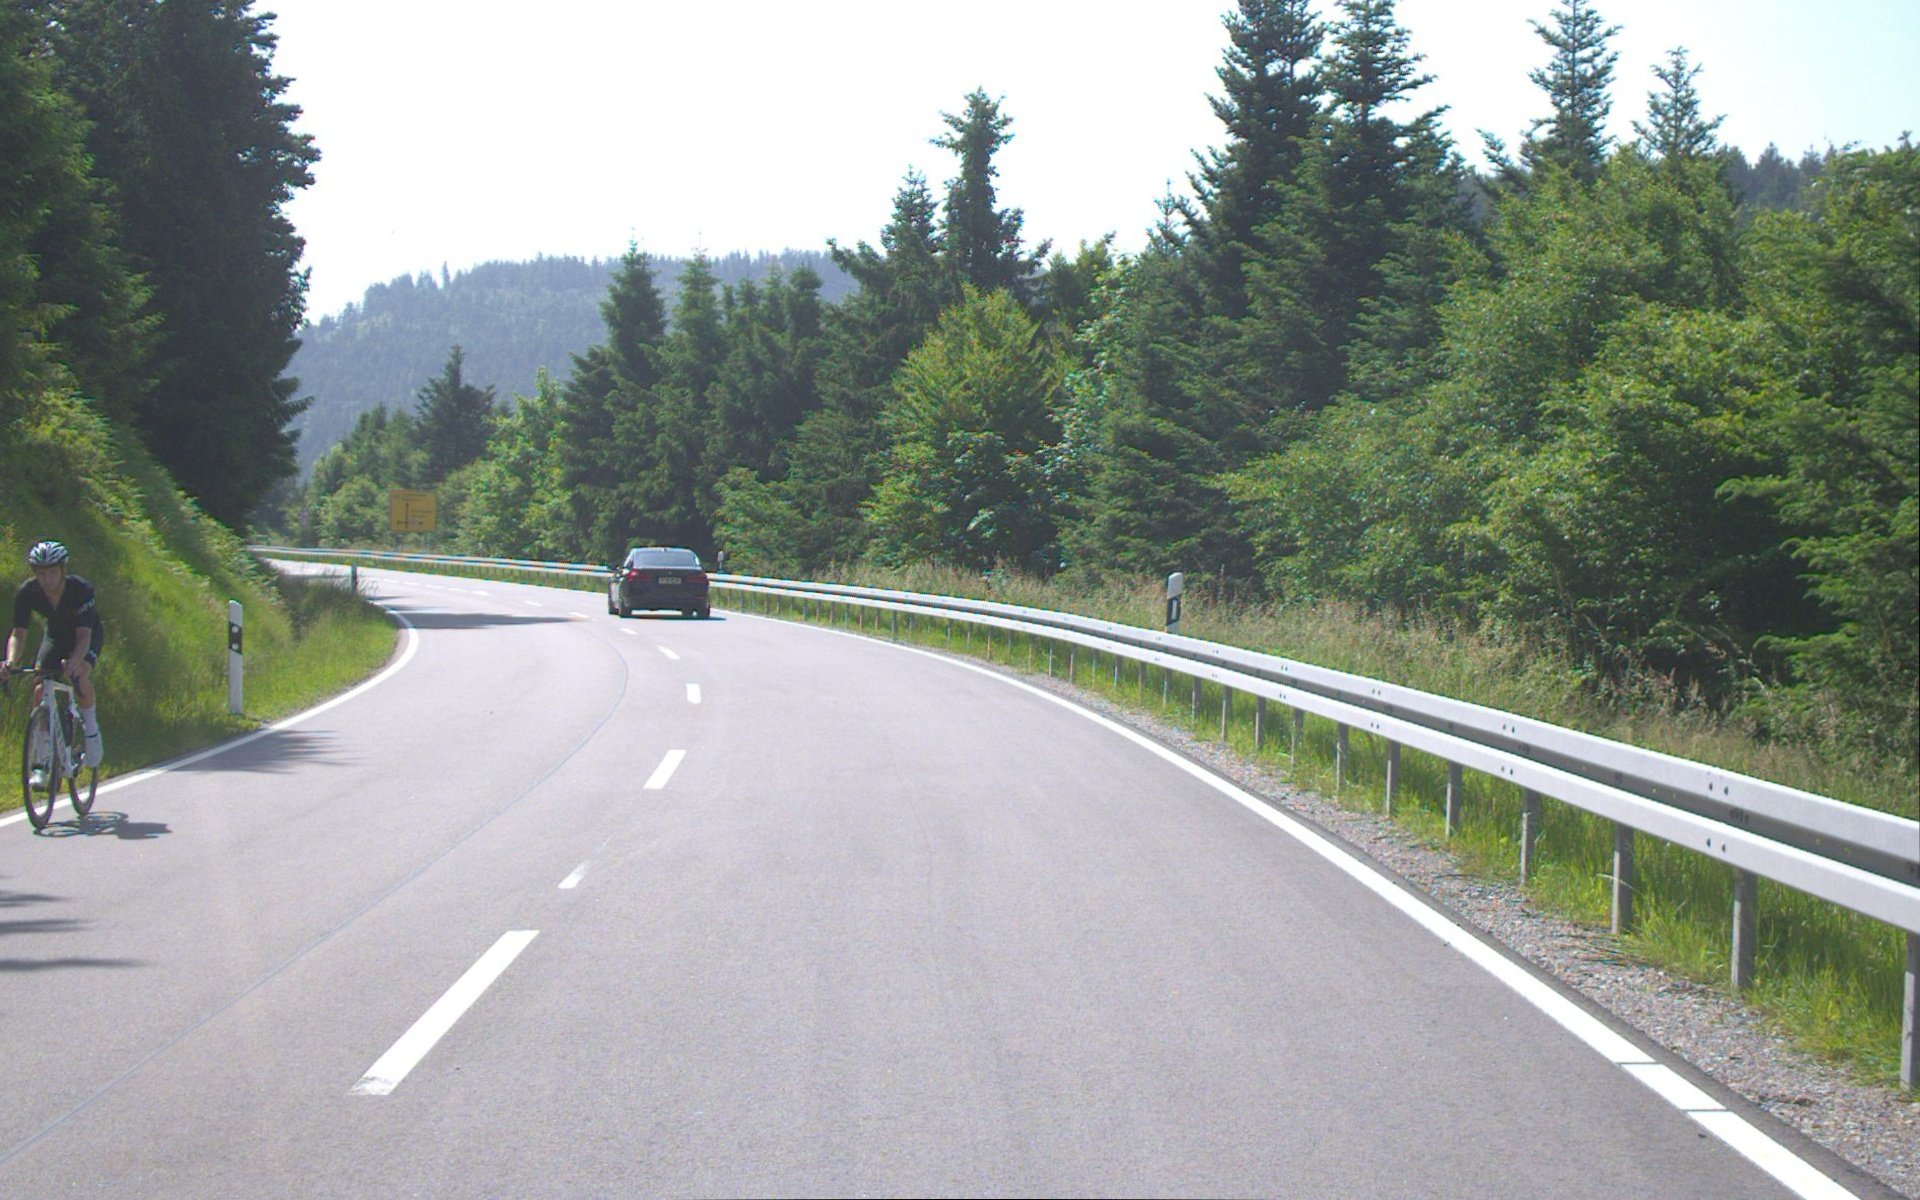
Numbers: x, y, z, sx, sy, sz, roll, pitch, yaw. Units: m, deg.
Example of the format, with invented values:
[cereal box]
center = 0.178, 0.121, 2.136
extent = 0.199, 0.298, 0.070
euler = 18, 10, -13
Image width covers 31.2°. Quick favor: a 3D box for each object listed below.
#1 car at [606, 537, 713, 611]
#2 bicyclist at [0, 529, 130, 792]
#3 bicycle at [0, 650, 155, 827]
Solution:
[car]
center = -6.109, -0.538, 69.688
extent = 1.775, 1.437, 3.710
euler = -1, 1, -11
[bicyclist]
center = -5.098, 0.325, 19.487
extent = 0.541, 1.446, 0.983
euler = -1, 1, -1
[bicycle]
center = -5.096, 0.766, 19.599
extent = 0.553, 0.883, 2.062
euler = -1, 1, -1
